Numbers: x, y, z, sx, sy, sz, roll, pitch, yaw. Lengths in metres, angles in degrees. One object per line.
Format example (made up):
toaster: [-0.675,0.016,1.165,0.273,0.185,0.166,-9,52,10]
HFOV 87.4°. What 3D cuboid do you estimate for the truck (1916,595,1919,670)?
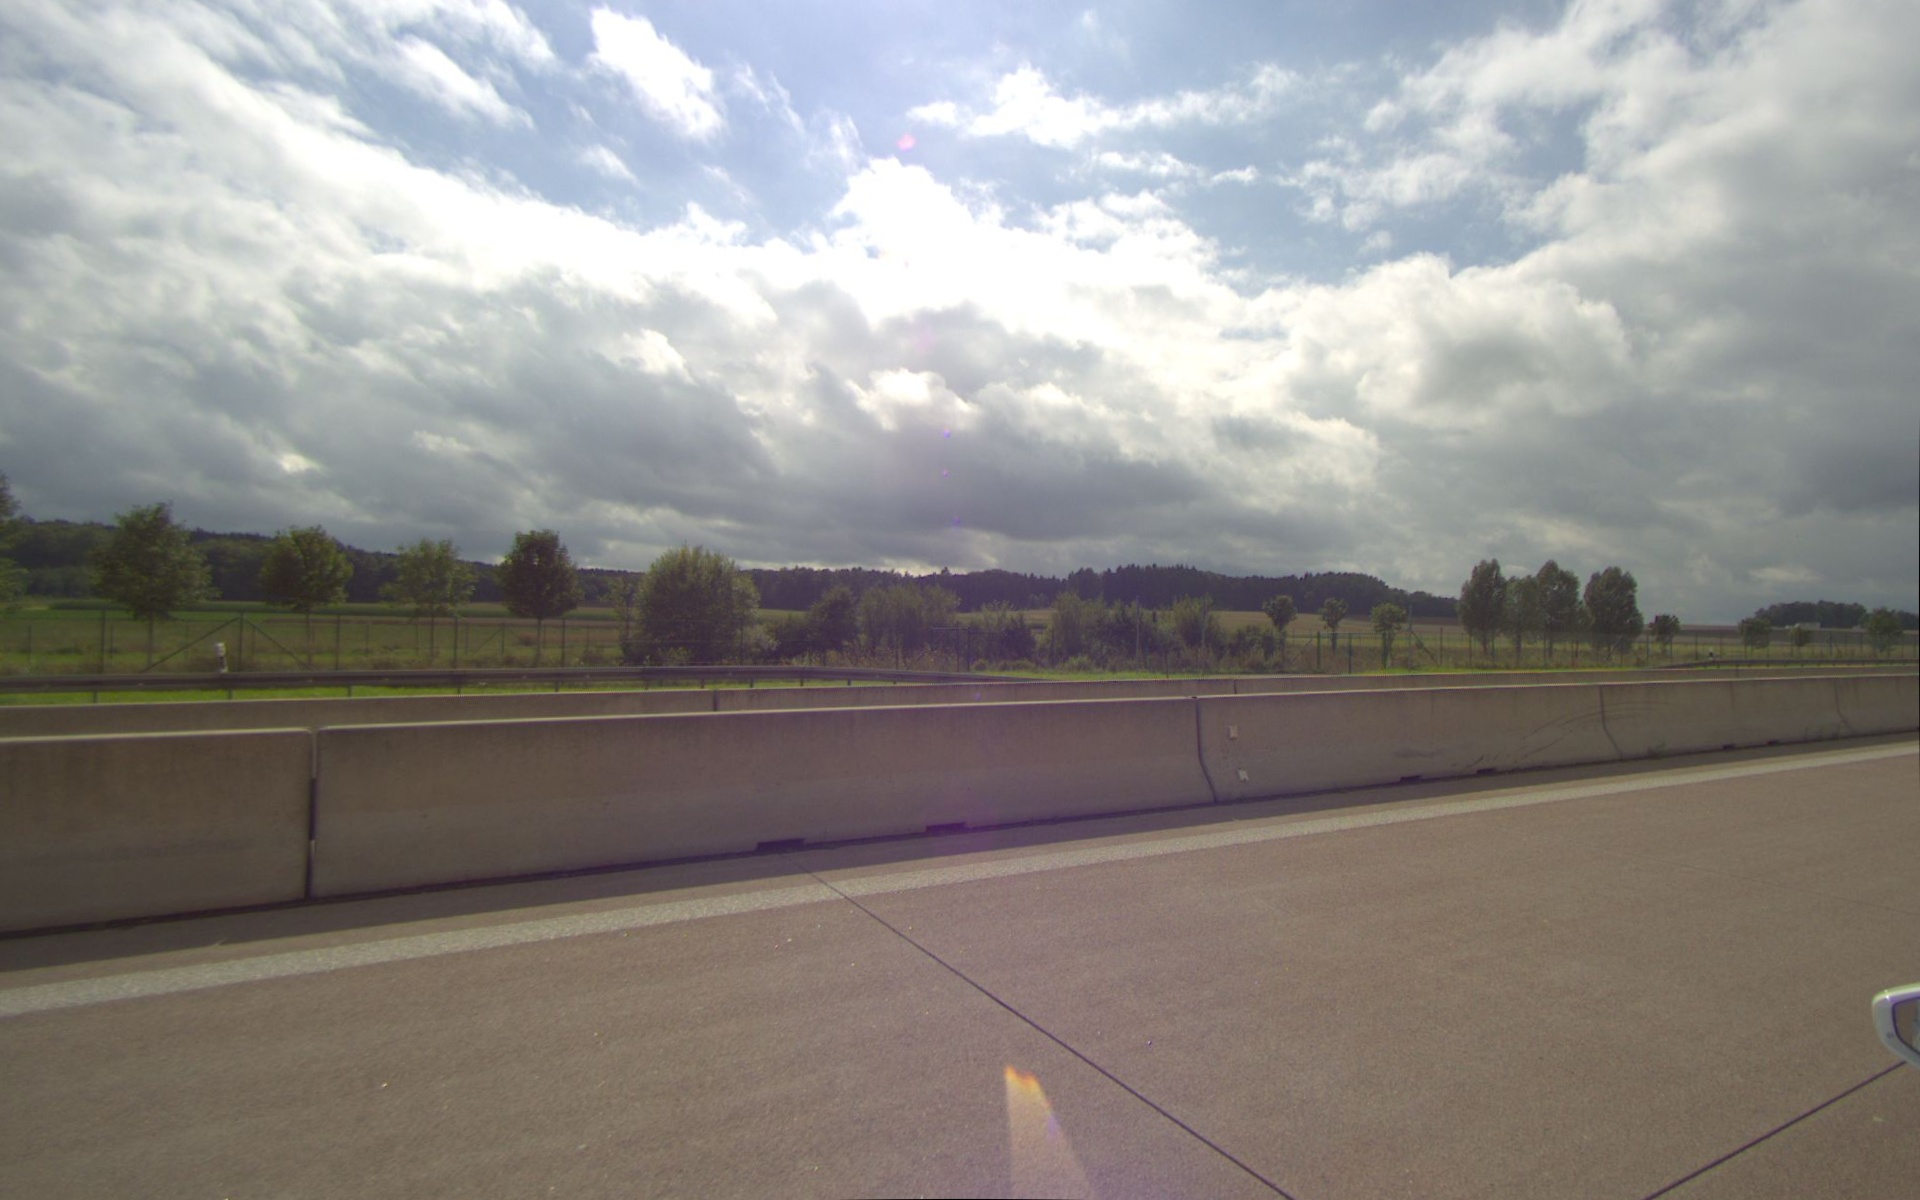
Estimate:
truck: [55.060,1.845,53.966,7.635,4.031,3.180,2,0,-29]
